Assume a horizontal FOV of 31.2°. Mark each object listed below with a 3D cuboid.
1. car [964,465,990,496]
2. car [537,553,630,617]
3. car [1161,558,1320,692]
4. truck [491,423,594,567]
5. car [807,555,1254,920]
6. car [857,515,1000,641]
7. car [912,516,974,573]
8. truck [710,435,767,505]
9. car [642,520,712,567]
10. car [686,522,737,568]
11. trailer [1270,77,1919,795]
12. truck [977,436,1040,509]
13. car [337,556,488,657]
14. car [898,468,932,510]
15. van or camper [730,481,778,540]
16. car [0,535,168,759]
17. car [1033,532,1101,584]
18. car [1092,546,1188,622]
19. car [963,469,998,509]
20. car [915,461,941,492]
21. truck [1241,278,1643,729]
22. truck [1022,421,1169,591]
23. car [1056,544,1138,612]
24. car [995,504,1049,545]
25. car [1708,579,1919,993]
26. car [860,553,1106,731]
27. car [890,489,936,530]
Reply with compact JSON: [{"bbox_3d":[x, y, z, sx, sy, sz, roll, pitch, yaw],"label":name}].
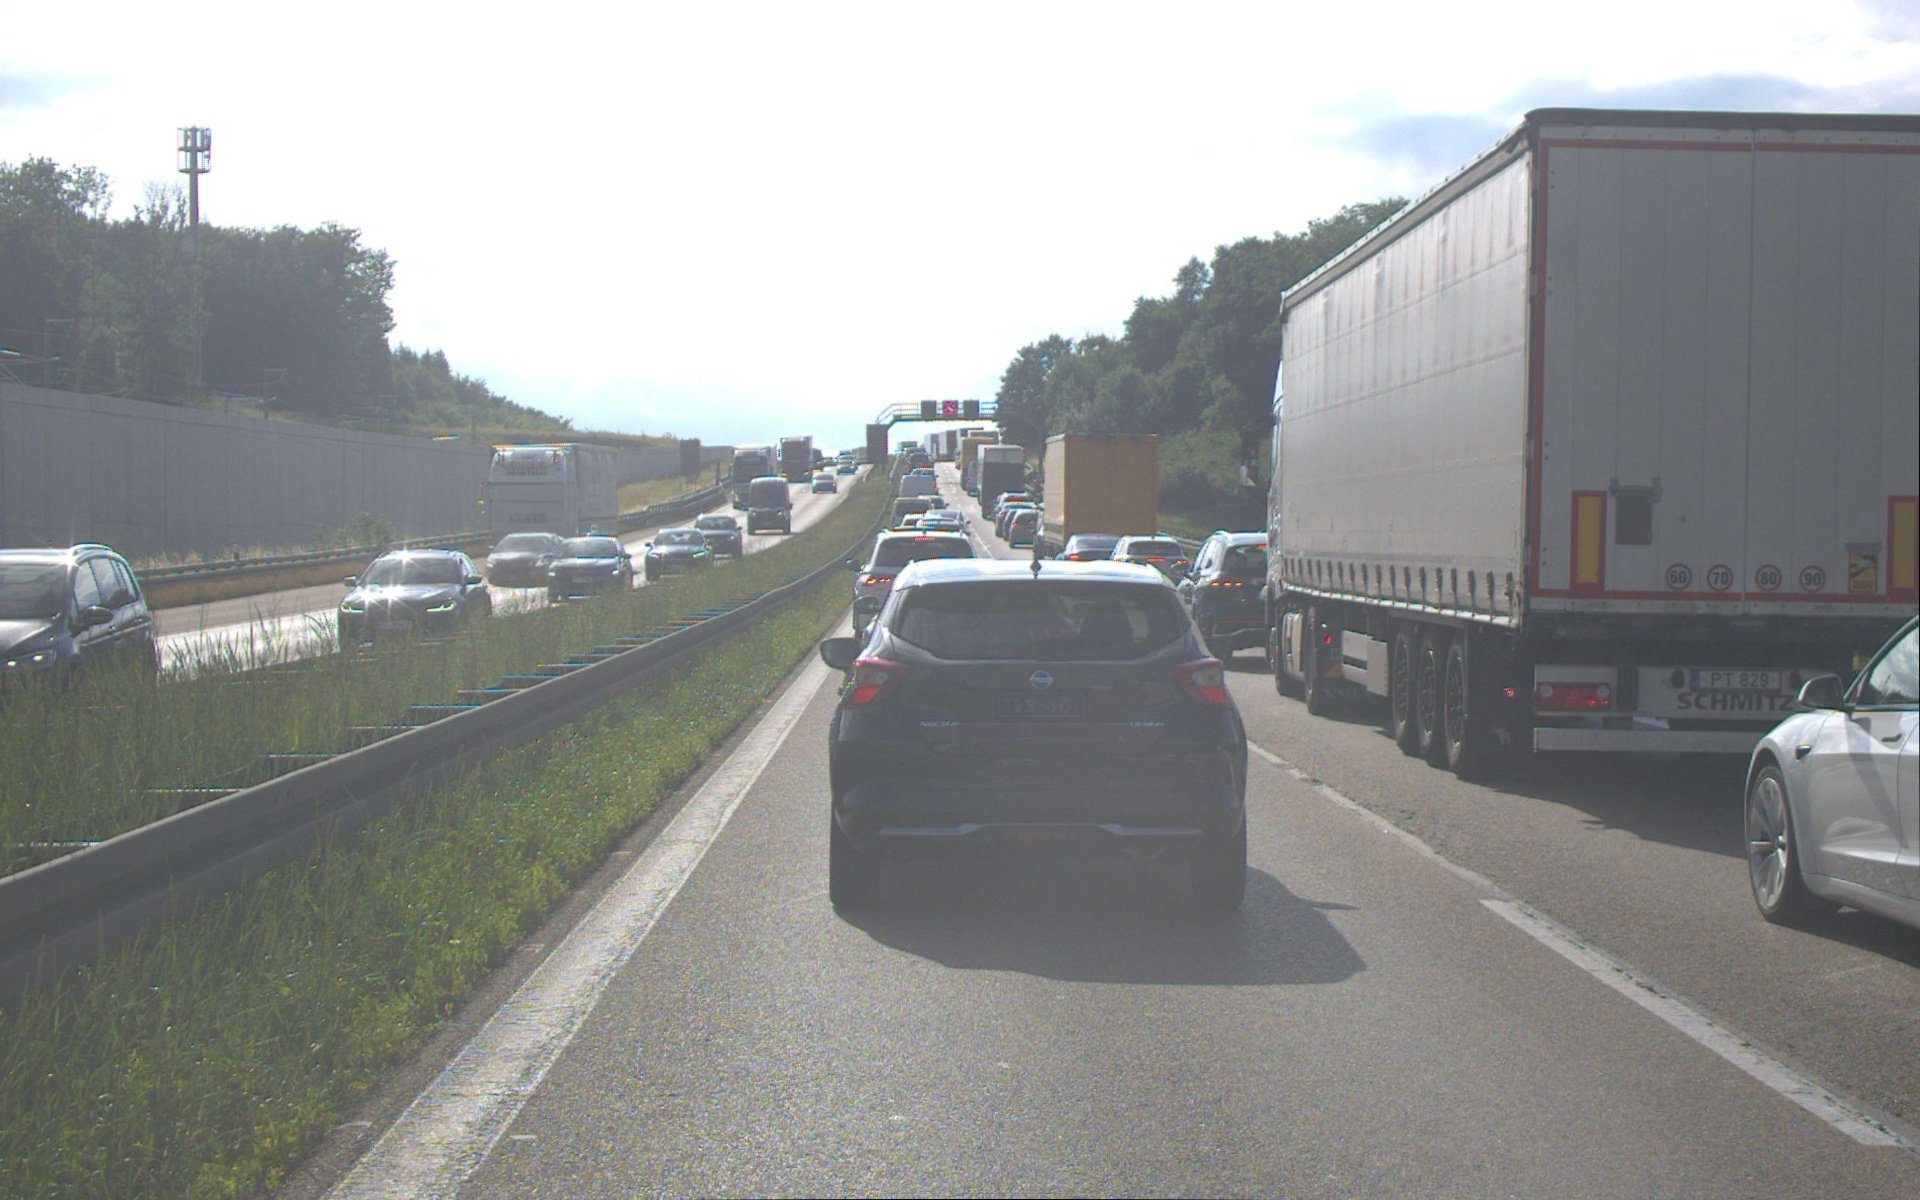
[{"bbox_3d":[1.242,-8.797,253.003,1.873,2.151,5.212,0,3,-1],"label":"car"},{"bbox_3d":[-8.892,-0.358,81.437,1.769,1.474,3.829,0,0,0],"label":"car"},{"bbox_3d":[3.499,0.271,43.543,1.697,1.605,4.437,0,1,1],"label":"car"},{"bbox_3d":[-12.501,-3.084,103.308,2.380,4.167,5.932,-1,1,-1],"label":"truck"},{"bbox_3d":[0.265,0.523,15.794,1.773,1.446,4.232,0,1,0],"label":"car"},{"bbox_3d":[-0.433,-0.312,47.220,1.873,1.638,4.232,0,1,0],"label":"car"},{"bbox_3d":[-0.529,-1.730,105.545,1.873,1.638,4.233,0,2,0],"label":"car"},{"bbox_3d":[-14.963,-8.729,233.071,3.297,4.561,12.442,0,1,-1],"label":"truck"},{"bbox_3d":[-8.303,-1.657,101.234,1.742,1.353,4.232,0,1,0],"label":"car"},{"bbox_3d":[-9.269,-2.031,128.468,1.708,1.700,4.174,0,1,-1],"label":"car"},{"bbox_3d":[4.535,-0.894,25.930,3.130,3.997,13.366,1,0,0],"label":"trailer"},{"bbox_3d":[3.130,-8.295,224.547,3.464,4.561,12.443,1,2,-2],"label":"truck"},{"bbox_3d":[-8.389,0.070,52.976,1.697,1.494,4.427,0,1,-1],"label":"car"},{"bbox_3d":[-2.467,-6.146,189.121,1.873,2.151,5.212,0,3,-1],"label":"car"},{"bbox_3d":[-10.249,-4.448,171.600,2.090,2.810,5.896,1,0,-1],"label":"van or camper"},{"bbox_3d":[-7.951,0.344,28.631,1.781,1.731,4.102,0,1,0],"label":"car"},{"bbox_3d":[3.433,-1.372,110.848,1.873,1.638,4.233,0,1,-2],"label":"car"},{"bbox_3d":[3.980,-0.364,76.467,1.873,1.638,4.232,0,1,0],"label":"car"},{"bbox_3d":[1.168,-6.427,198.809,1.873,2.151,5.212,0,3,-1],"label":"car"},{"bbox_3d":[-2.343,-9.003,250.784,1.873,2.151,5.212,0,3,-1],"label":"car"},{"bbox_3d":[4.525,-0.859,33.358,3.133,4.002,5.163,1,0,0],"label":"truck"},{"bbox_3d":[3.797,-2.576,99.465,3.296,4.562,12.441,1,0,-2],"label":"truck"},{"bbox_3d":[3.421,-0.581,86.461,1.873,1.638,4.232,0,1,0],"label":"car"},{"bbox_3d":[2.546,-3.129,141.973,1.873,1.638,4.233,0,2,-4],"label":"car"},{"bbox_3d":[4.164,0.646,12.375,1.788,1.389,4.437,0,1,-3],"label":"car"},{"bbox_3d":[0.161,0.298,28.338,1.873,1.353,4.232,0,1,0],"label":"car"},{"bbox_3d":[-1.979,-3.826,144.900,1.873,1.638,4.233,0,2,-2],"label":"car"}]
